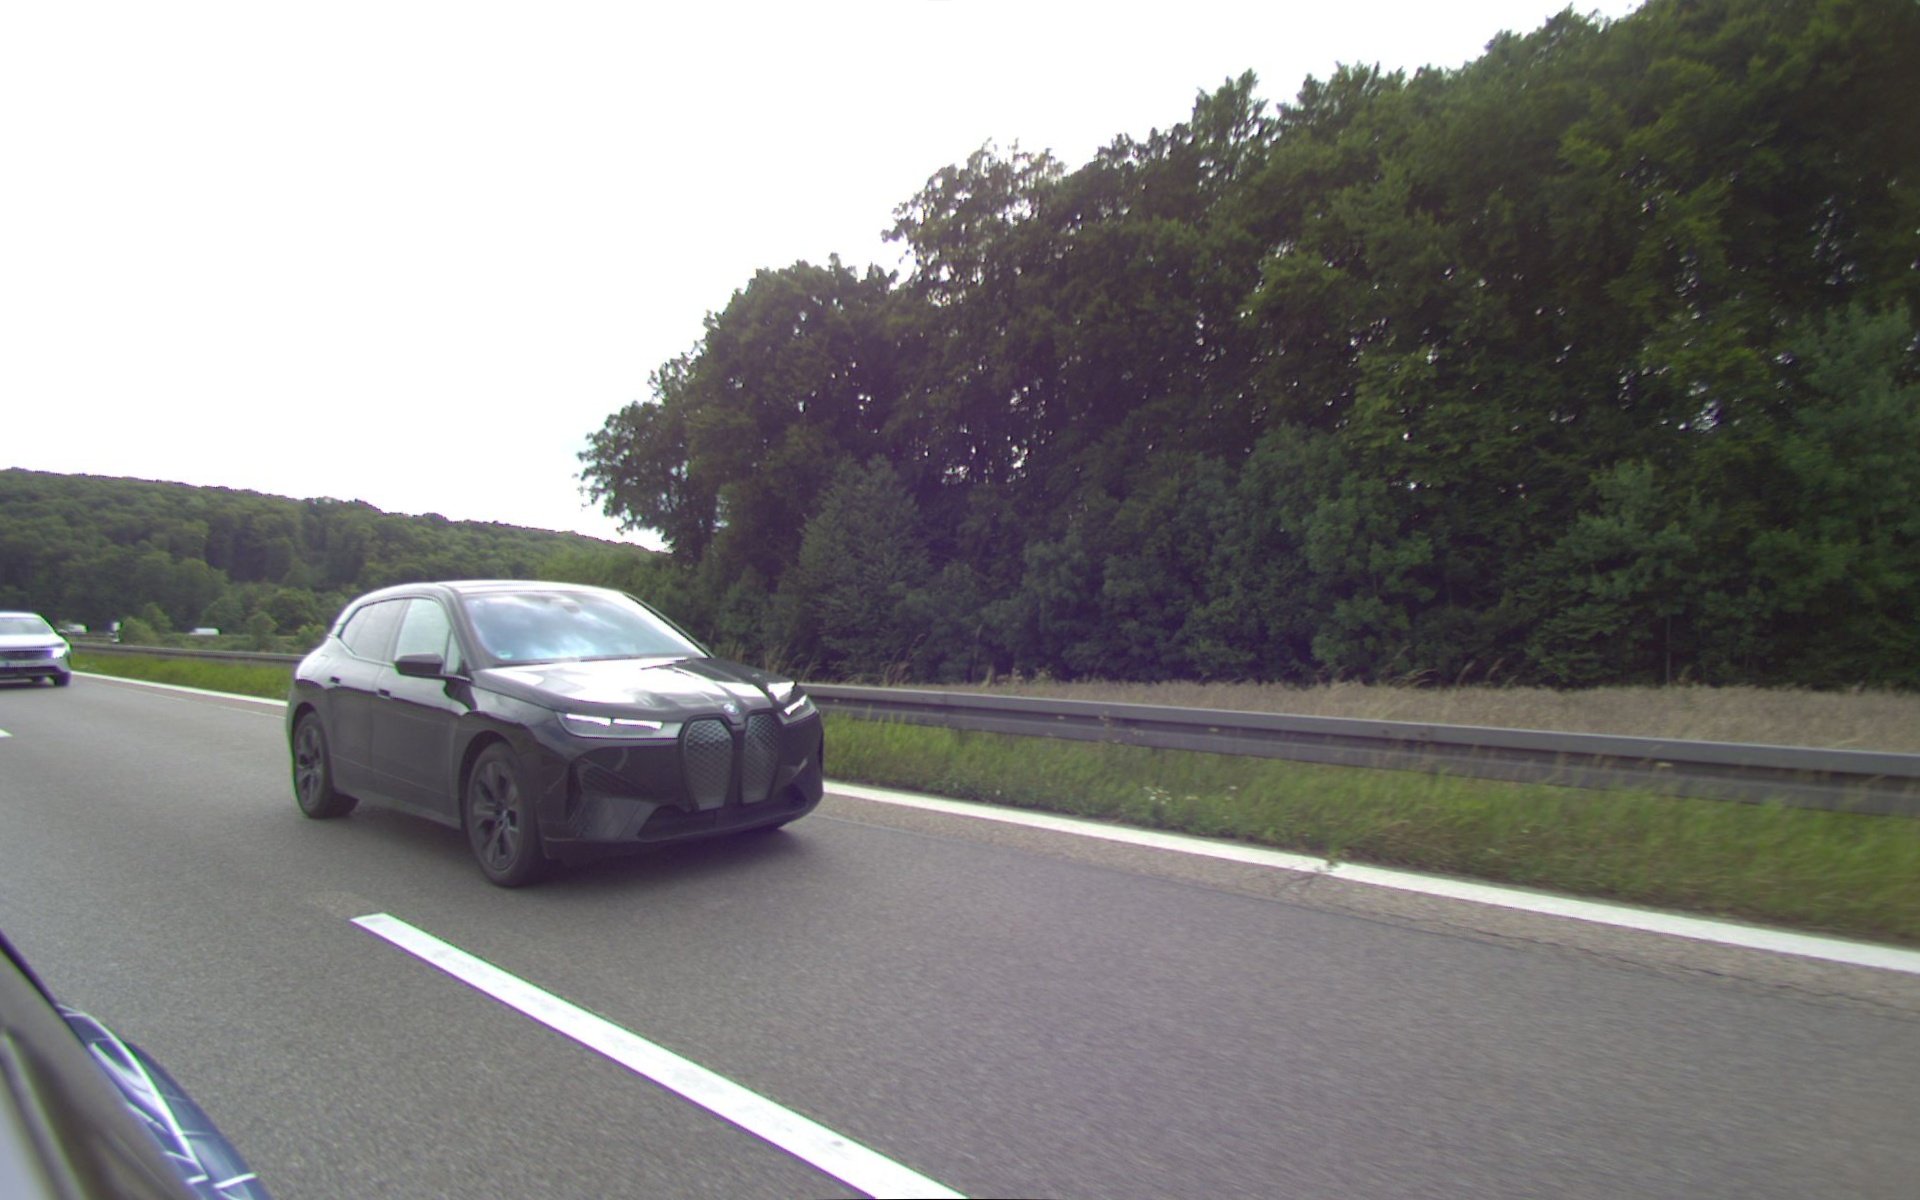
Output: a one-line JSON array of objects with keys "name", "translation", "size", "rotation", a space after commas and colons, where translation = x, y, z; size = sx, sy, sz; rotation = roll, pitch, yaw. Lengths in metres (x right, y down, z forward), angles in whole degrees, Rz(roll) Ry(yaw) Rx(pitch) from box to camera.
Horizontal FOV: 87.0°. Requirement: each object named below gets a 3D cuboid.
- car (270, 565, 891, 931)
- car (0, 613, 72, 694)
[{"name": "car", "translation": [-2.750, 0.734, 6.823], "size": [4.410, 1.678, 1.974], "rotation": [-2, -2, 39]}, {"name": "car", "translation": [-21.719, 1.185, 22.863], "size": [4.414, 1.678, 1.972], "rotation": [-2, -1, 42]}]
